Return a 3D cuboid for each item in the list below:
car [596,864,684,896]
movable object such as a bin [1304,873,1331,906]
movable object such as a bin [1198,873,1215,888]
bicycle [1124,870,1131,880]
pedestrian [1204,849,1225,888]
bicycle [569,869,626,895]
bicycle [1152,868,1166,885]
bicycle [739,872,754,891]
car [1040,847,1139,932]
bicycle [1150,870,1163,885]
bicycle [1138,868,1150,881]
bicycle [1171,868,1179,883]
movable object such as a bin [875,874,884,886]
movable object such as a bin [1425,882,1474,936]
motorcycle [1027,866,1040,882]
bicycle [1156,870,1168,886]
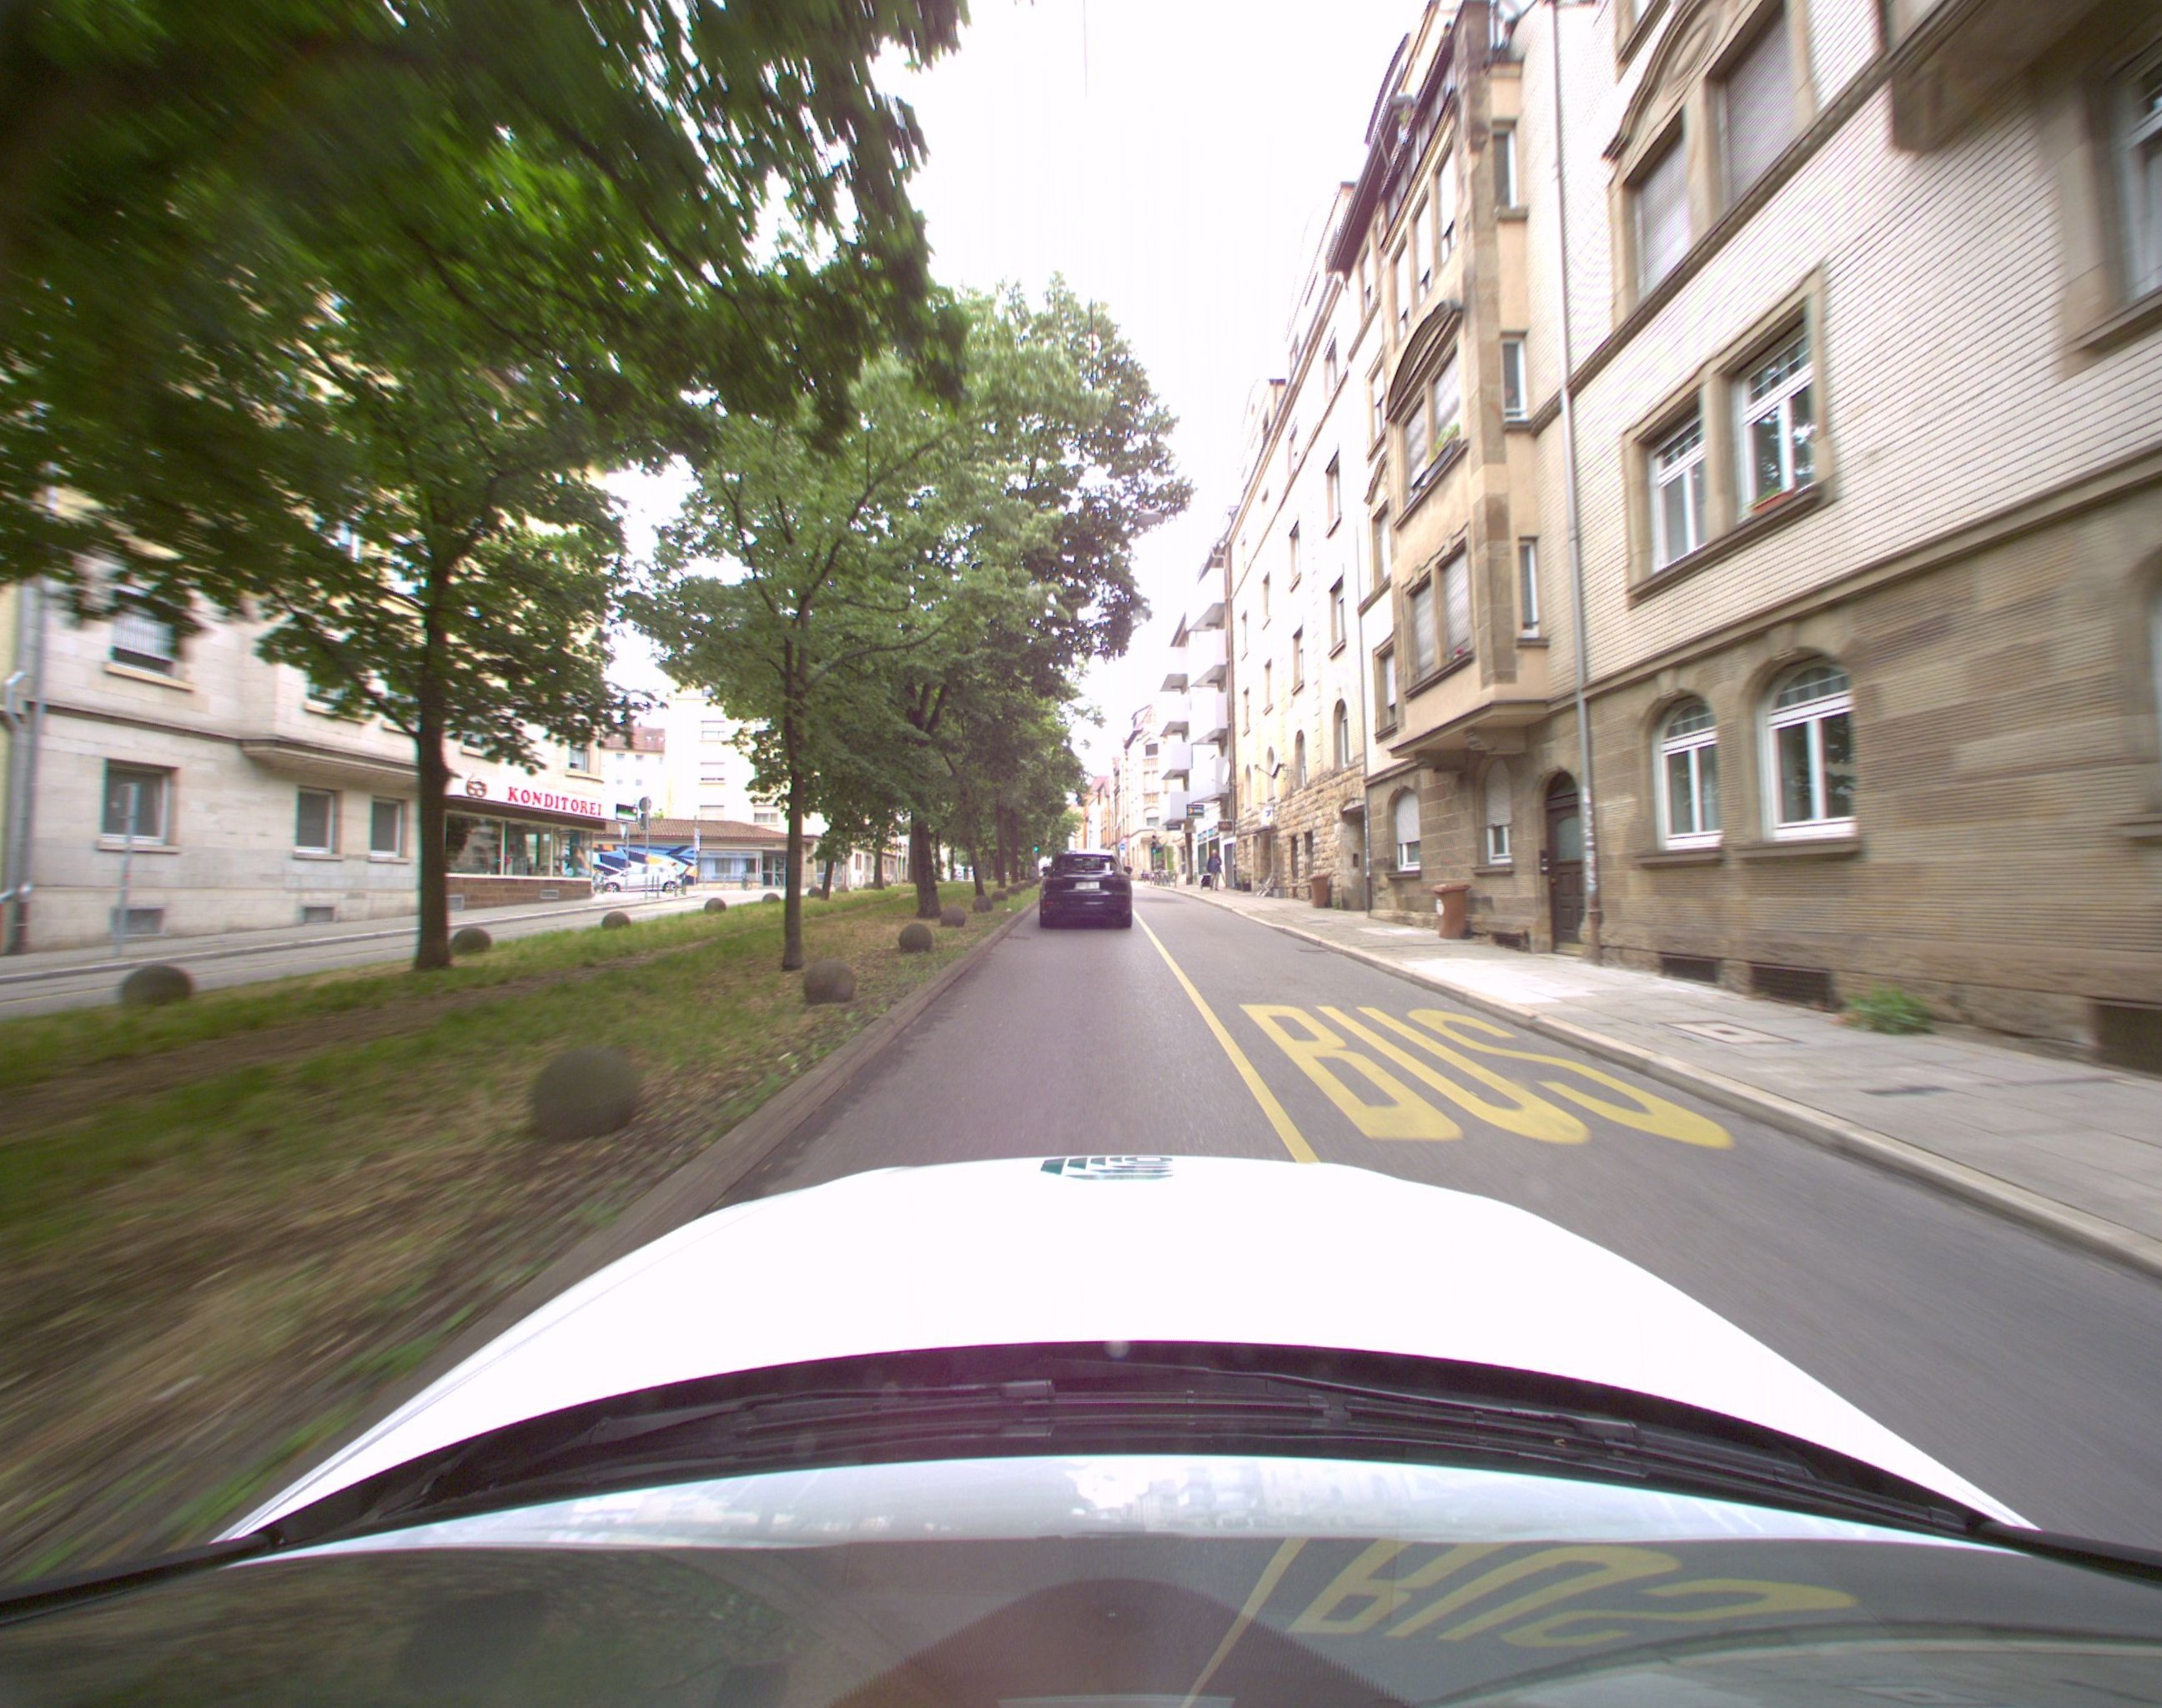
[{"bbox_3d":[-23.969,1.396,44.295,4.057,1.479,1.802,-3,-1,-33],"label":"car"},{"bbox_3d":[6.537,0.984,22.489,0.592,0.904,0.503,0,-4,1],"label":"movable object such as a bin"},{"bbox_3d":[5.631,1.185,36.533,0.605,0.669,0.858,-1,-2,1],"label":"movable object such as a bin"},{"bbox_3d":[4.879,2.199,85.031,0.445,1.037,2.246,-1,-3,-2],"label":"bicycle"},{"bbox_3d":[5.864,0.633,35.691,0.749,1.693,0.858,-1,-2,1],"label":"pedestrian"},{"bbox_3d":[-20.922,1.206,35.230,2.429,1.046,0.873,0,-2,26],"label":"bicycle"},{"bbox_3d":[4.955,1.447,51.838,0.286,1.054,1.752,1,-2,-13],"label":"bicycle"},{"bbox_3d":[-19.361,1.589,47.158,0.765,1.085,2.021,2,-3,-22],"label":"bicycle"},{"bbox_3d":[0.188,0.708,18.464,1.987,1.665,4.000,0,1,0],"label":"car"},{"bbox_3d":[4.777,1.497,51.515,0.286,0.931,1.752,1,-2,-13],"label":"bicycle"},{"bbox_3d":[5.698,1.843,73.916,0.876,1.129,2.977,0,-2,-1],"label":"bicycle"},{"bbox_3d":[8.306,1.879,71.809,0.445,1.161,1.833,-1,3,-2],"label":"bicycle"},{"bbox_3d":[-18.723,2.397,75.687,0.691,1.060,0.688,0,-3,-6],"label":"movable object such as a bin"},{"bbox_3d":[6.326,0.935,14.012,0.592,0.904,0.563,0,-1,1],"label":"movable object such as a bin"},{"bbox_3d":[-4.364,1.834,74.569,1.017,1.446,2.245,-2,-2,-1],"label":"motorcycle"},{"bbox_3d":[4.817,1.436,48.524,0.567,0.931,1.774,0,-2,-1],"label":"bicycle"}]
